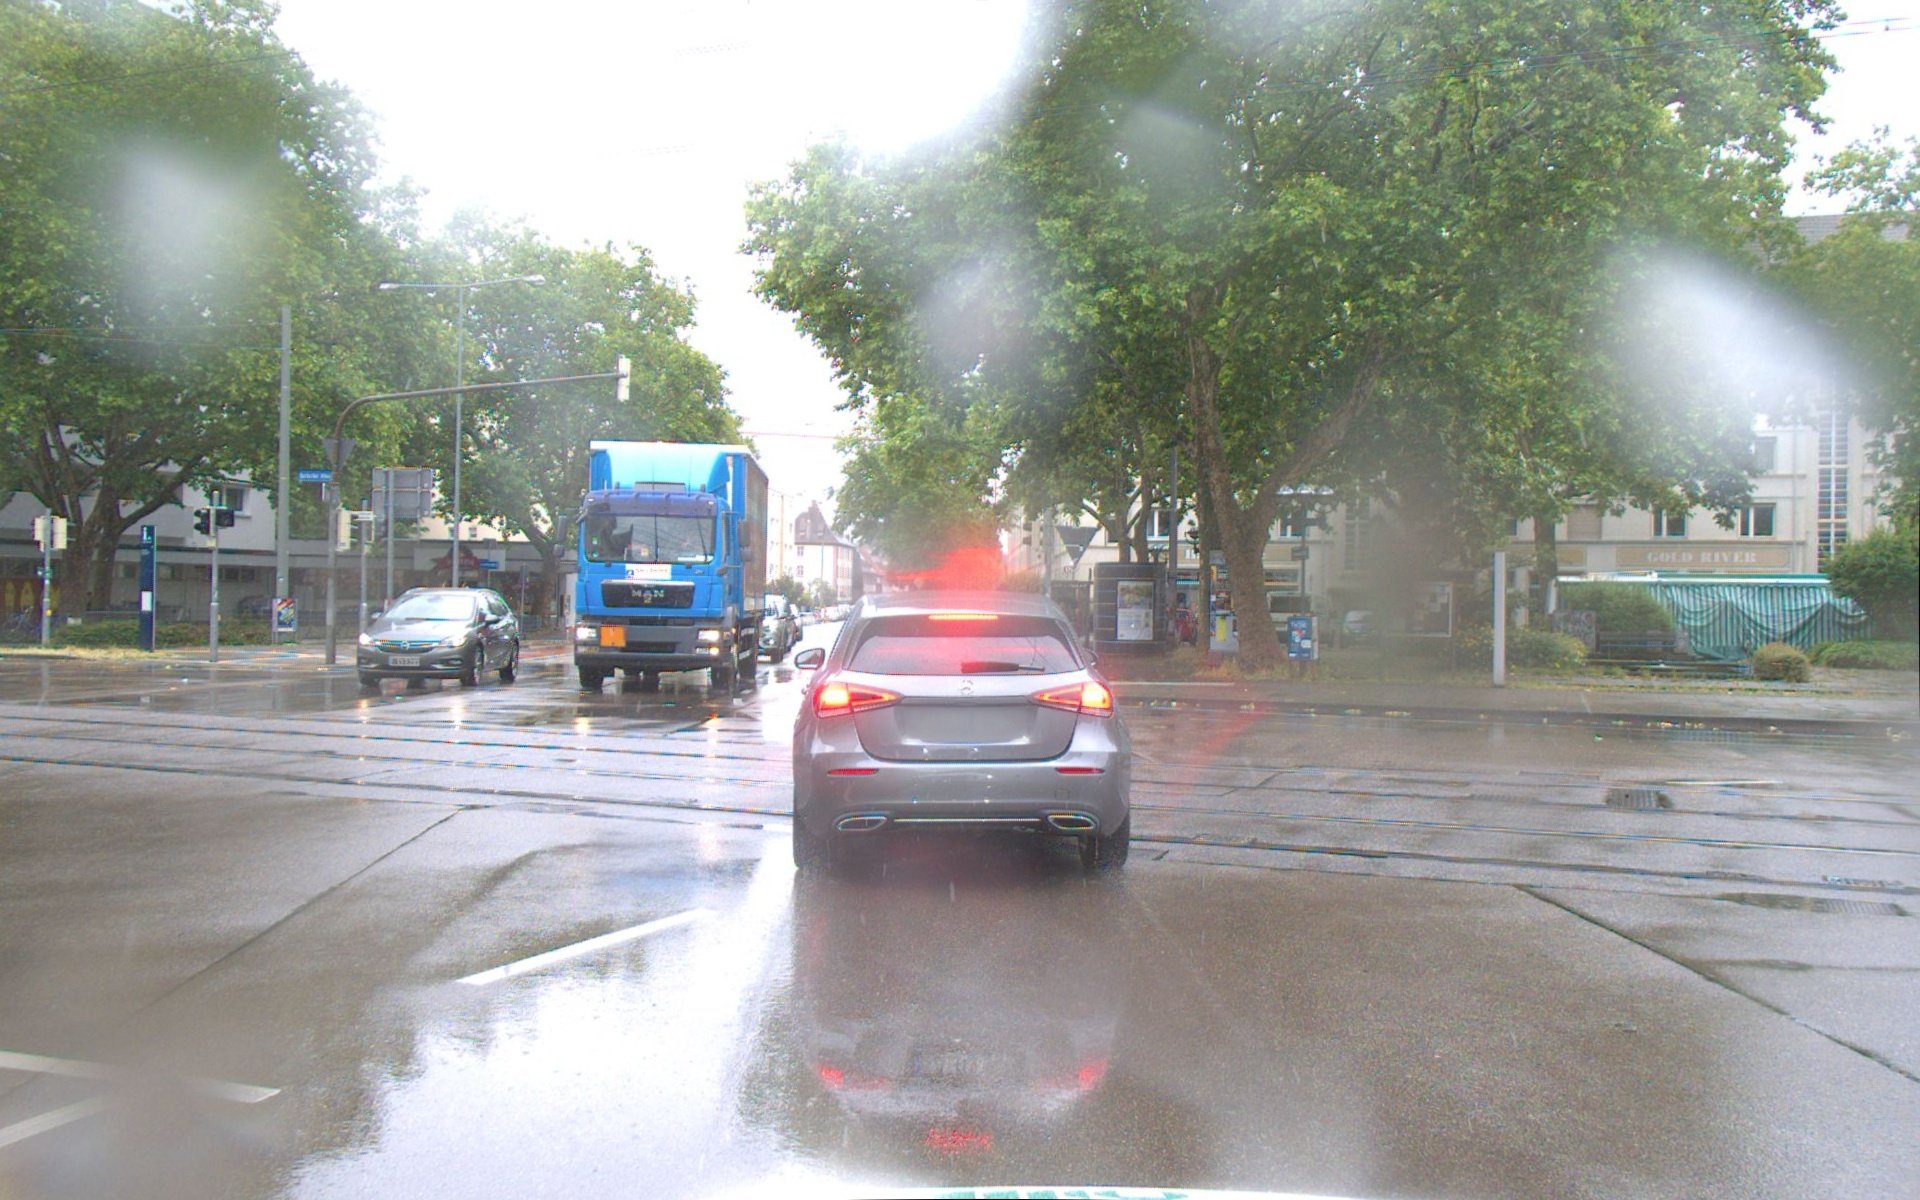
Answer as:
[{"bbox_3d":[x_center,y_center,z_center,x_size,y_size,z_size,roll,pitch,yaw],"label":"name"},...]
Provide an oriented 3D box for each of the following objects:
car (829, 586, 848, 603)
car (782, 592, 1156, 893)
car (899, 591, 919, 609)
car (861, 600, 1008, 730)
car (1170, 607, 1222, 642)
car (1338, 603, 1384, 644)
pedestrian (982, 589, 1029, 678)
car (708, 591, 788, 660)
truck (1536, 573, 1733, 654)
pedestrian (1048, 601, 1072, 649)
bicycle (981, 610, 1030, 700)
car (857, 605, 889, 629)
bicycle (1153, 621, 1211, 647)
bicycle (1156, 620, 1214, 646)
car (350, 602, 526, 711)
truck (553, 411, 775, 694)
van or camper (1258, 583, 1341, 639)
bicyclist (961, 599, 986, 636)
[{"bbox_3d":[-13.638,-0.632,185.736,1.851,1.868,4.000,0,-1,0],"label":"car"},{"bbox_3d":[-0.064,0.688,9.657,1.756,1.396,3.504,2,0,-4],"label":"car"},{"bbox_3d":[-5.554,0.053,178.832,2.004,1.868,4.791,0,-1,0],"label":"car"},{"bbox_3d":[-0.393,0.708,19.987,1.575,1.396,3.997,0,0,-4],"label":"car"},{"bbox_3d":[10.004,1.046,69.981,1.549,1.360,3.262,0,-3,20],"label":"car"},{"bbox_3d":[16.389,0.981,67.558,1.644,1.603,3.738,0,-1,16],"label":"car"},{"bbox_3d":[0.755,0.538,27.041,0.728,1.422,1.047,0,0,3],"label":"pedestrian"},{"bbox_3d":[-5.315,0.624,41.824,1.708,1.632,3.997,0,0,-3],"label":"car"},{"bbox_3d":[23.734,0.466,58.493,6.245,2.747,2.269,0,-1,17],"label":"truck"},{"bbox_3d":[3.529,0.888,58.561,0.703,1.698,0.663,1,-1,-11],"label":"pedestrian"},{"bbox_3d":[0.767,0.872,27.344,0.733,1.401,2.708,0,0,3],"label":"bicycle"},{"bbox_3d":[-5.823,1.134,110.288,1.954,1.601,3.996,0,-1,-5],"label":"car"},{"bbox_3d":[8.723,1.326,65.030,2.205,0.985,0.534,0,0,19],"label":"bicycle"},{"bbox_3d":[8.929,1.305,65.694,2.200,0.985,0.585,0,0,19],"label":"bicycle"},{"bbox_3d":[-8.122,0.822,26.104,1.692,1.573,4.336,0,0,-4],"label":"car"},{"bbox_3d":[-4.877,-0.683,29.207,2.790,4.096,10.307,0,0,-4],"label":"truck"},{"bbox_3d":[14.209,0.465,68.928,2.348,2.270,5.427,0,-1,24],"label":"van or camper"},{"bbox_3d":[0.692,0.905,84.174,0.925,1.901,1.135,1,-2,-22],"label":"bicyclist"}]
